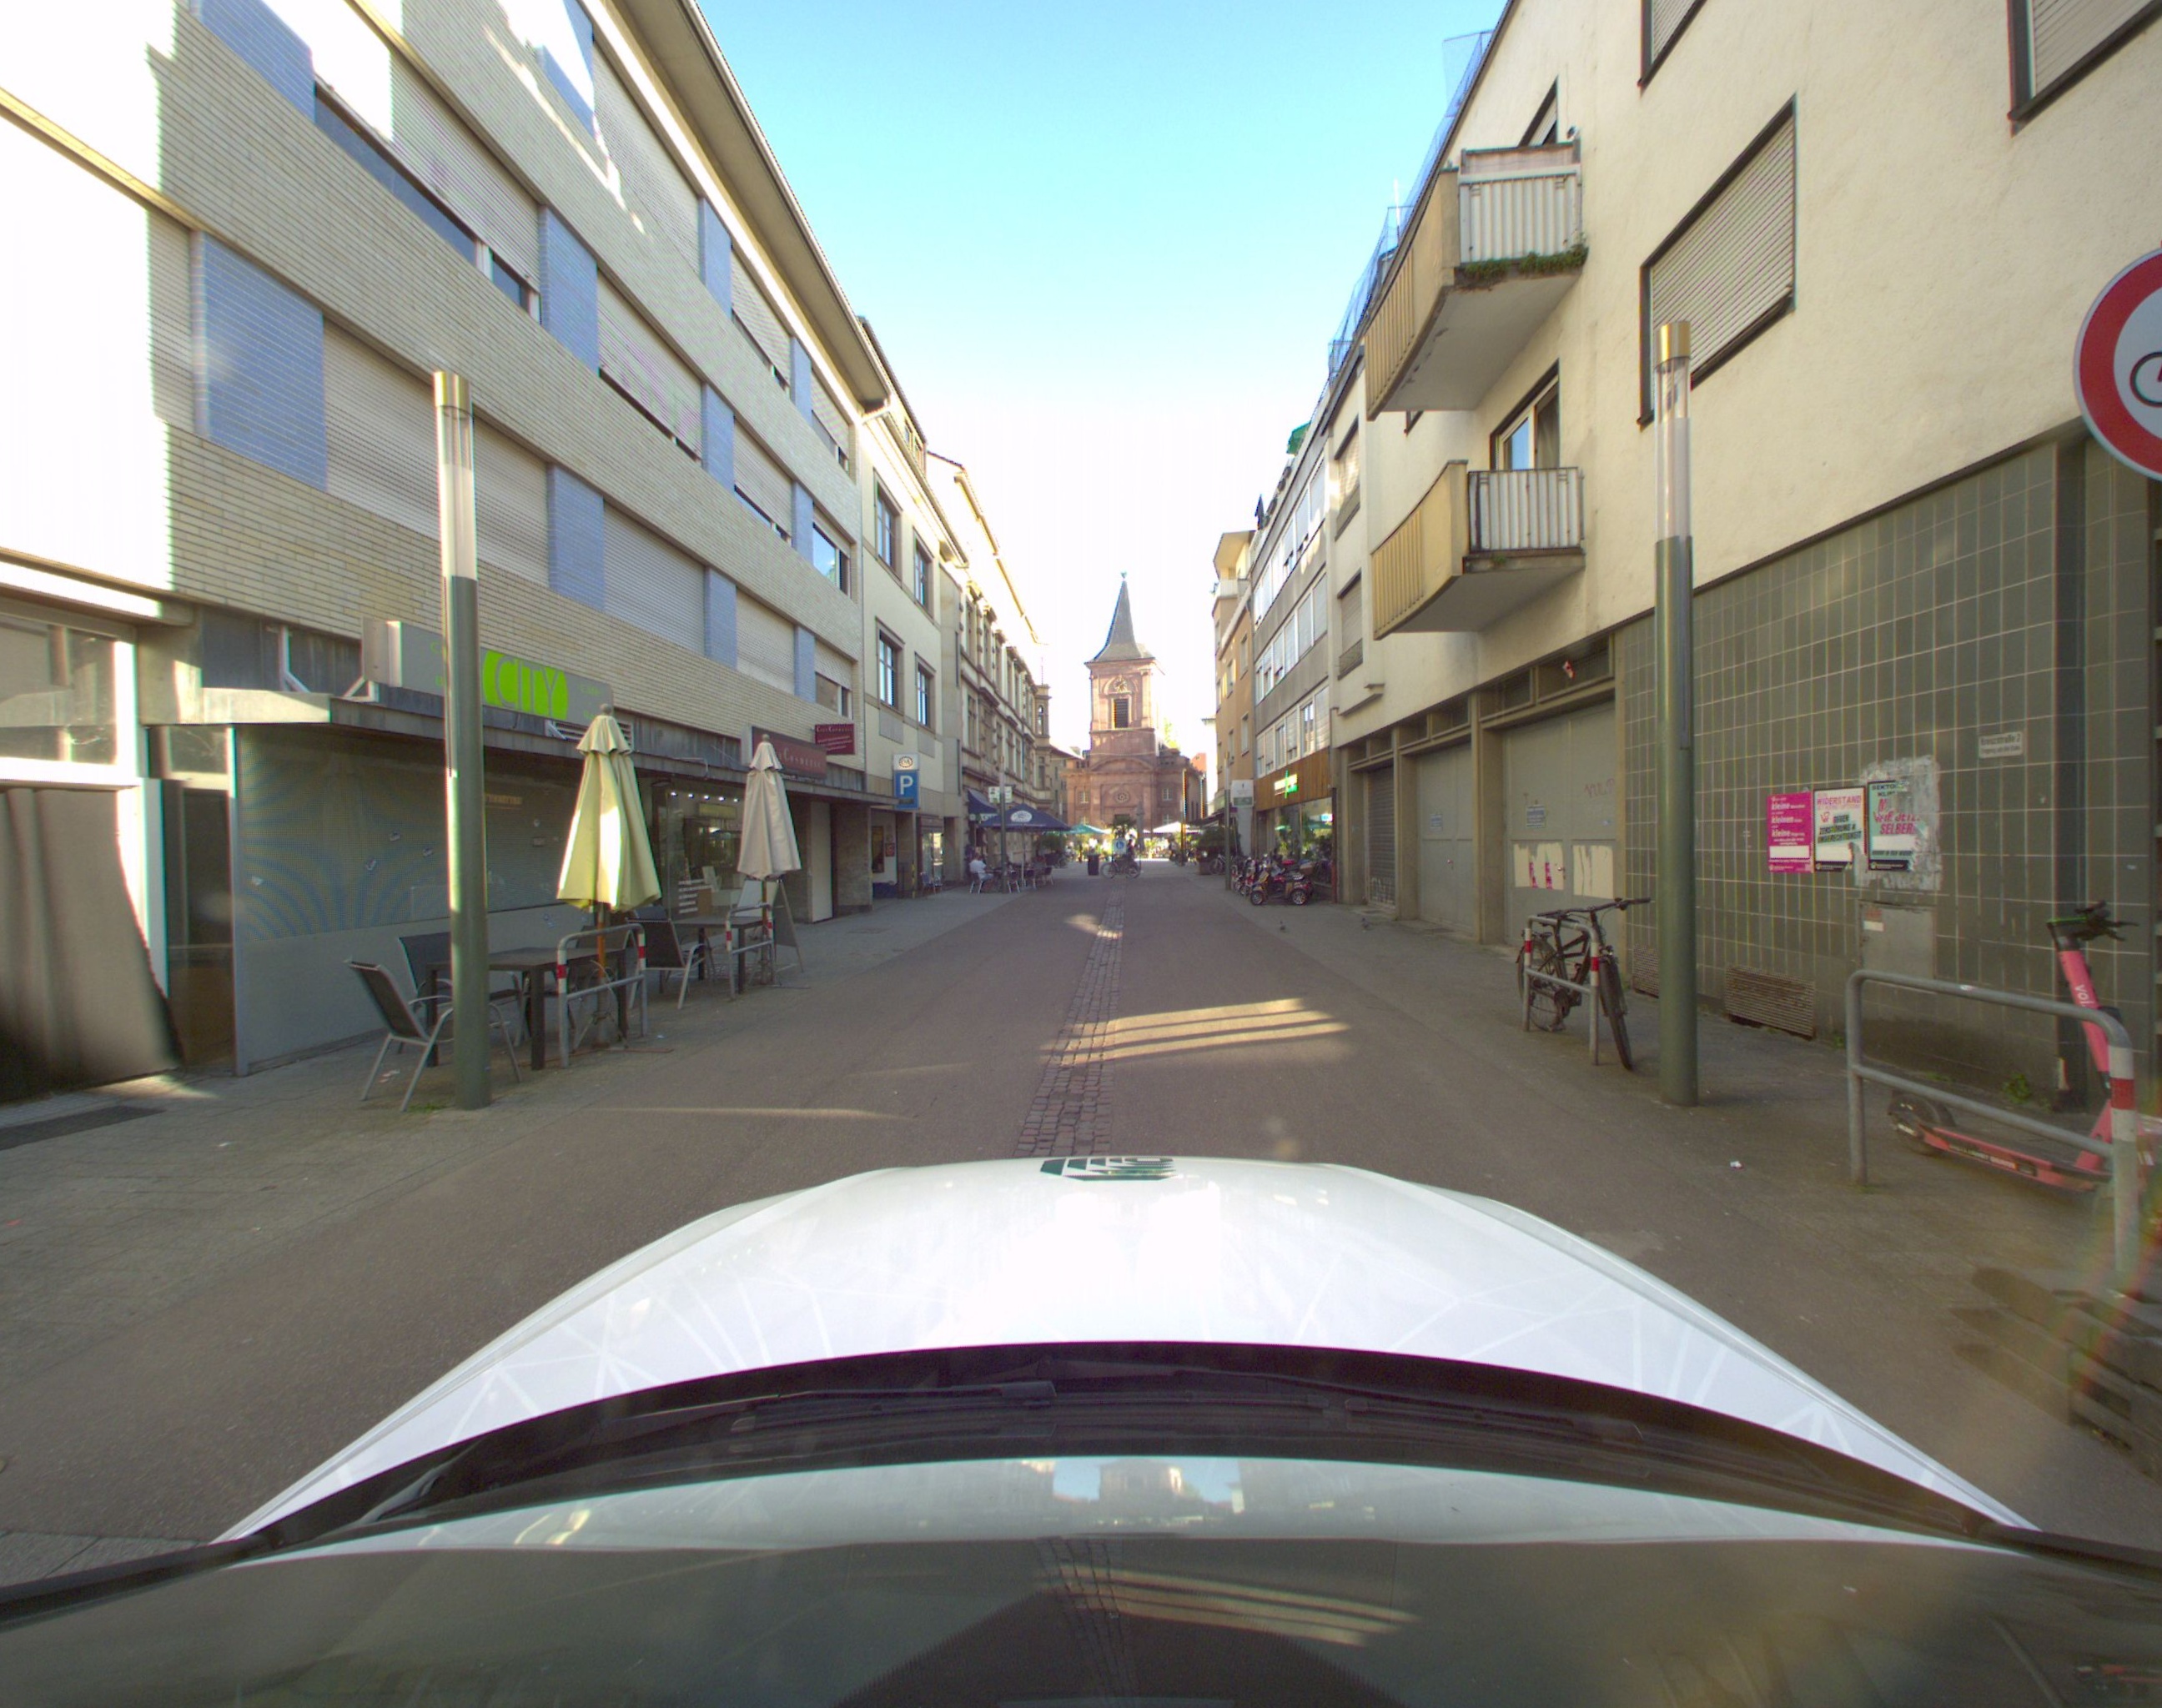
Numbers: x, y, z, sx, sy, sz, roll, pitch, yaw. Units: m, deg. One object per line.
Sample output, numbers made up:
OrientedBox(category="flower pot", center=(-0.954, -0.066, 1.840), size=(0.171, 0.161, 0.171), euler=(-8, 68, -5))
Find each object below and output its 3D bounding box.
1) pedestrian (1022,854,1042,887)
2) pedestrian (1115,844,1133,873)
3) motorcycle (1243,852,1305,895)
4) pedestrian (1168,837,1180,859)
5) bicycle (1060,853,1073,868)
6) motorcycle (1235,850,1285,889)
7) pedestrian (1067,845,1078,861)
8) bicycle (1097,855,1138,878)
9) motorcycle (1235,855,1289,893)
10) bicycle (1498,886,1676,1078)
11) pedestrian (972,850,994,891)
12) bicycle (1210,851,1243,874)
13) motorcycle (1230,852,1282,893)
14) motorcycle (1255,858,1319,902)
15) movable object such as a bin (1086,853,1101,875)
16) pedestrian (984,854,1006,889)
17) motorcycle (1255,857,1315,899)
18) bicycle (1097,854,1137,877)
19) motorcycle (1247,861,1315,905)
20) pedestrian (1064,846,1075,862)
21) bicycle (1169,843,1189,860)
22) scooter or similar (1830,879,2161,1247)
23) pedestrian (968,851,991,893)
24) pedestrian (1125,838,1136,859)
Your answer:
OrientedBox(category="pedestrian", center=(-1.837, 0.616, 30.350), size=(0.691, 1.215, 0.582), euler=(-1, 1, -5))
OrientedBox(category="pedestrian", center=(2.225, 0.210, 41.595), size=(0.880, 1.464, 0.731), euler=(-1, 0, 3))
OrientedBox(category="motorcycle", center=(5.423, 0.554, 22.883), size=(1.610, 1.175, 0.483), euler=(-2, 0, 21))
OrientedBox(category="pedestrian", center=(6.623, -0.415, 58.051), size=(0.779, 1.555, 0.536), euler=(-1, 0, 7))
OrientedBox(category="bicycle", center=(-0.877, 0.370, 49.675), size=(0.454, 0.850, 2.150), euler=(-1, 1, 7))
OrientedBox(category="motorcycle", center=(5.609, 0.497, 25.556), size=(1.472, 1.181, 0.414), euler=(-2, 0, 18))
OrientedBox(category="pedestrian", center=(-0.688, -0.072, 65.129), size=(0.696, 1.218, 0.721), euler=(-1, 0, 9))
OrientedBox(category="bicycle", center=(1.656, 0.574, 37.080), size=(1.818, 1.005, 0.381), euler=(-1, 0, -1))
OrientedBox(category="motorcycle", center=(5.248, 0.581, 23.621), size=(1.471, 1.075, 0.414), euler=(-2, 0, 21))
OrientedBox(category="bicycle", center=(3.600, 0.830, 5.946), size=(0.444, 1.140, 1.714), euler=(-1, -1, 8))
OrientedBox(category="pedestrian", center=(-3.360, 0.559, 27.895), size=(0.717, 1.368, 0.708), euler=(-1, 1, -9))
OrientedBox(category="bicycle", center=(6.501, 0.383, 36.405), size=(1.454, 1.005, 0.574), euler=(-1, 0, 10))
OrientedBox(category="motorcycle", center=(5.269, 0.549, 24.515), size=(1.472, 1.181, 0.414), euler=(-2, 0, 18))
OrientedBox(category="motorcycle", center=(5.208, 0.659, 20.646), size=(1.503, 1.075, 0.414), euler=(-2, 0, 21))
OrientedBox(category="movable object such as a bin", center=(0.606, 0.489, 40.416), size=(0.718, 1.074, 0.374), euler=(-1, 0, 1))
OrientedBox(category="pedestrian", center=(-3.137, 0.612, 29.748), size=(0.763, 1.233, 0.830), euler=(-1, 1, -5))
OrientedBox(category="motorcycle", center=(5.421, 0.638, 21.664), size=(1.471, 1.075, 0.414), euler=(-2, 0, 21))
OrientedBox(category="bicycle", center=(1.652, 0.542, 37.493), size=(1.818, 1.005, 0.381), euler=(-1, 0, -1))
OrientedBox(category="motorcycle", center=(4.884, 0.719, 19.923), size=(1.550, 1.041, 0.374), euler=(-2, 0, 21))
OrientedBox(category="pedestrian", center=(-0.875, 0.010, 63.704), size=(0.696, 1.218, 0.721), euler=(-1, 0, 9))
OrientedBox(category="bicycle", center=(7.555, -0.214, 62.799), size=(1.594, 1.308, 0.362), euler=(-1, 1, -26))
OrientedBox(category="scooter or similar", center=(3.966, 0.762, 3.514), size=(0.306, 1.252, 1.239), euler=(-1, 0, 0))
OrientedBox(category="pedestrian", center=(-3.356, 0.587, 26.958), size=(0.708, 1.368, 0.718), euler=(-1, 1, -9))
OrientedBox(category="pedestrian", center=(4.046, -0.449, 66.830), size=(0.615, 1.641, 0.651), euler=(-1, 1, -33))
